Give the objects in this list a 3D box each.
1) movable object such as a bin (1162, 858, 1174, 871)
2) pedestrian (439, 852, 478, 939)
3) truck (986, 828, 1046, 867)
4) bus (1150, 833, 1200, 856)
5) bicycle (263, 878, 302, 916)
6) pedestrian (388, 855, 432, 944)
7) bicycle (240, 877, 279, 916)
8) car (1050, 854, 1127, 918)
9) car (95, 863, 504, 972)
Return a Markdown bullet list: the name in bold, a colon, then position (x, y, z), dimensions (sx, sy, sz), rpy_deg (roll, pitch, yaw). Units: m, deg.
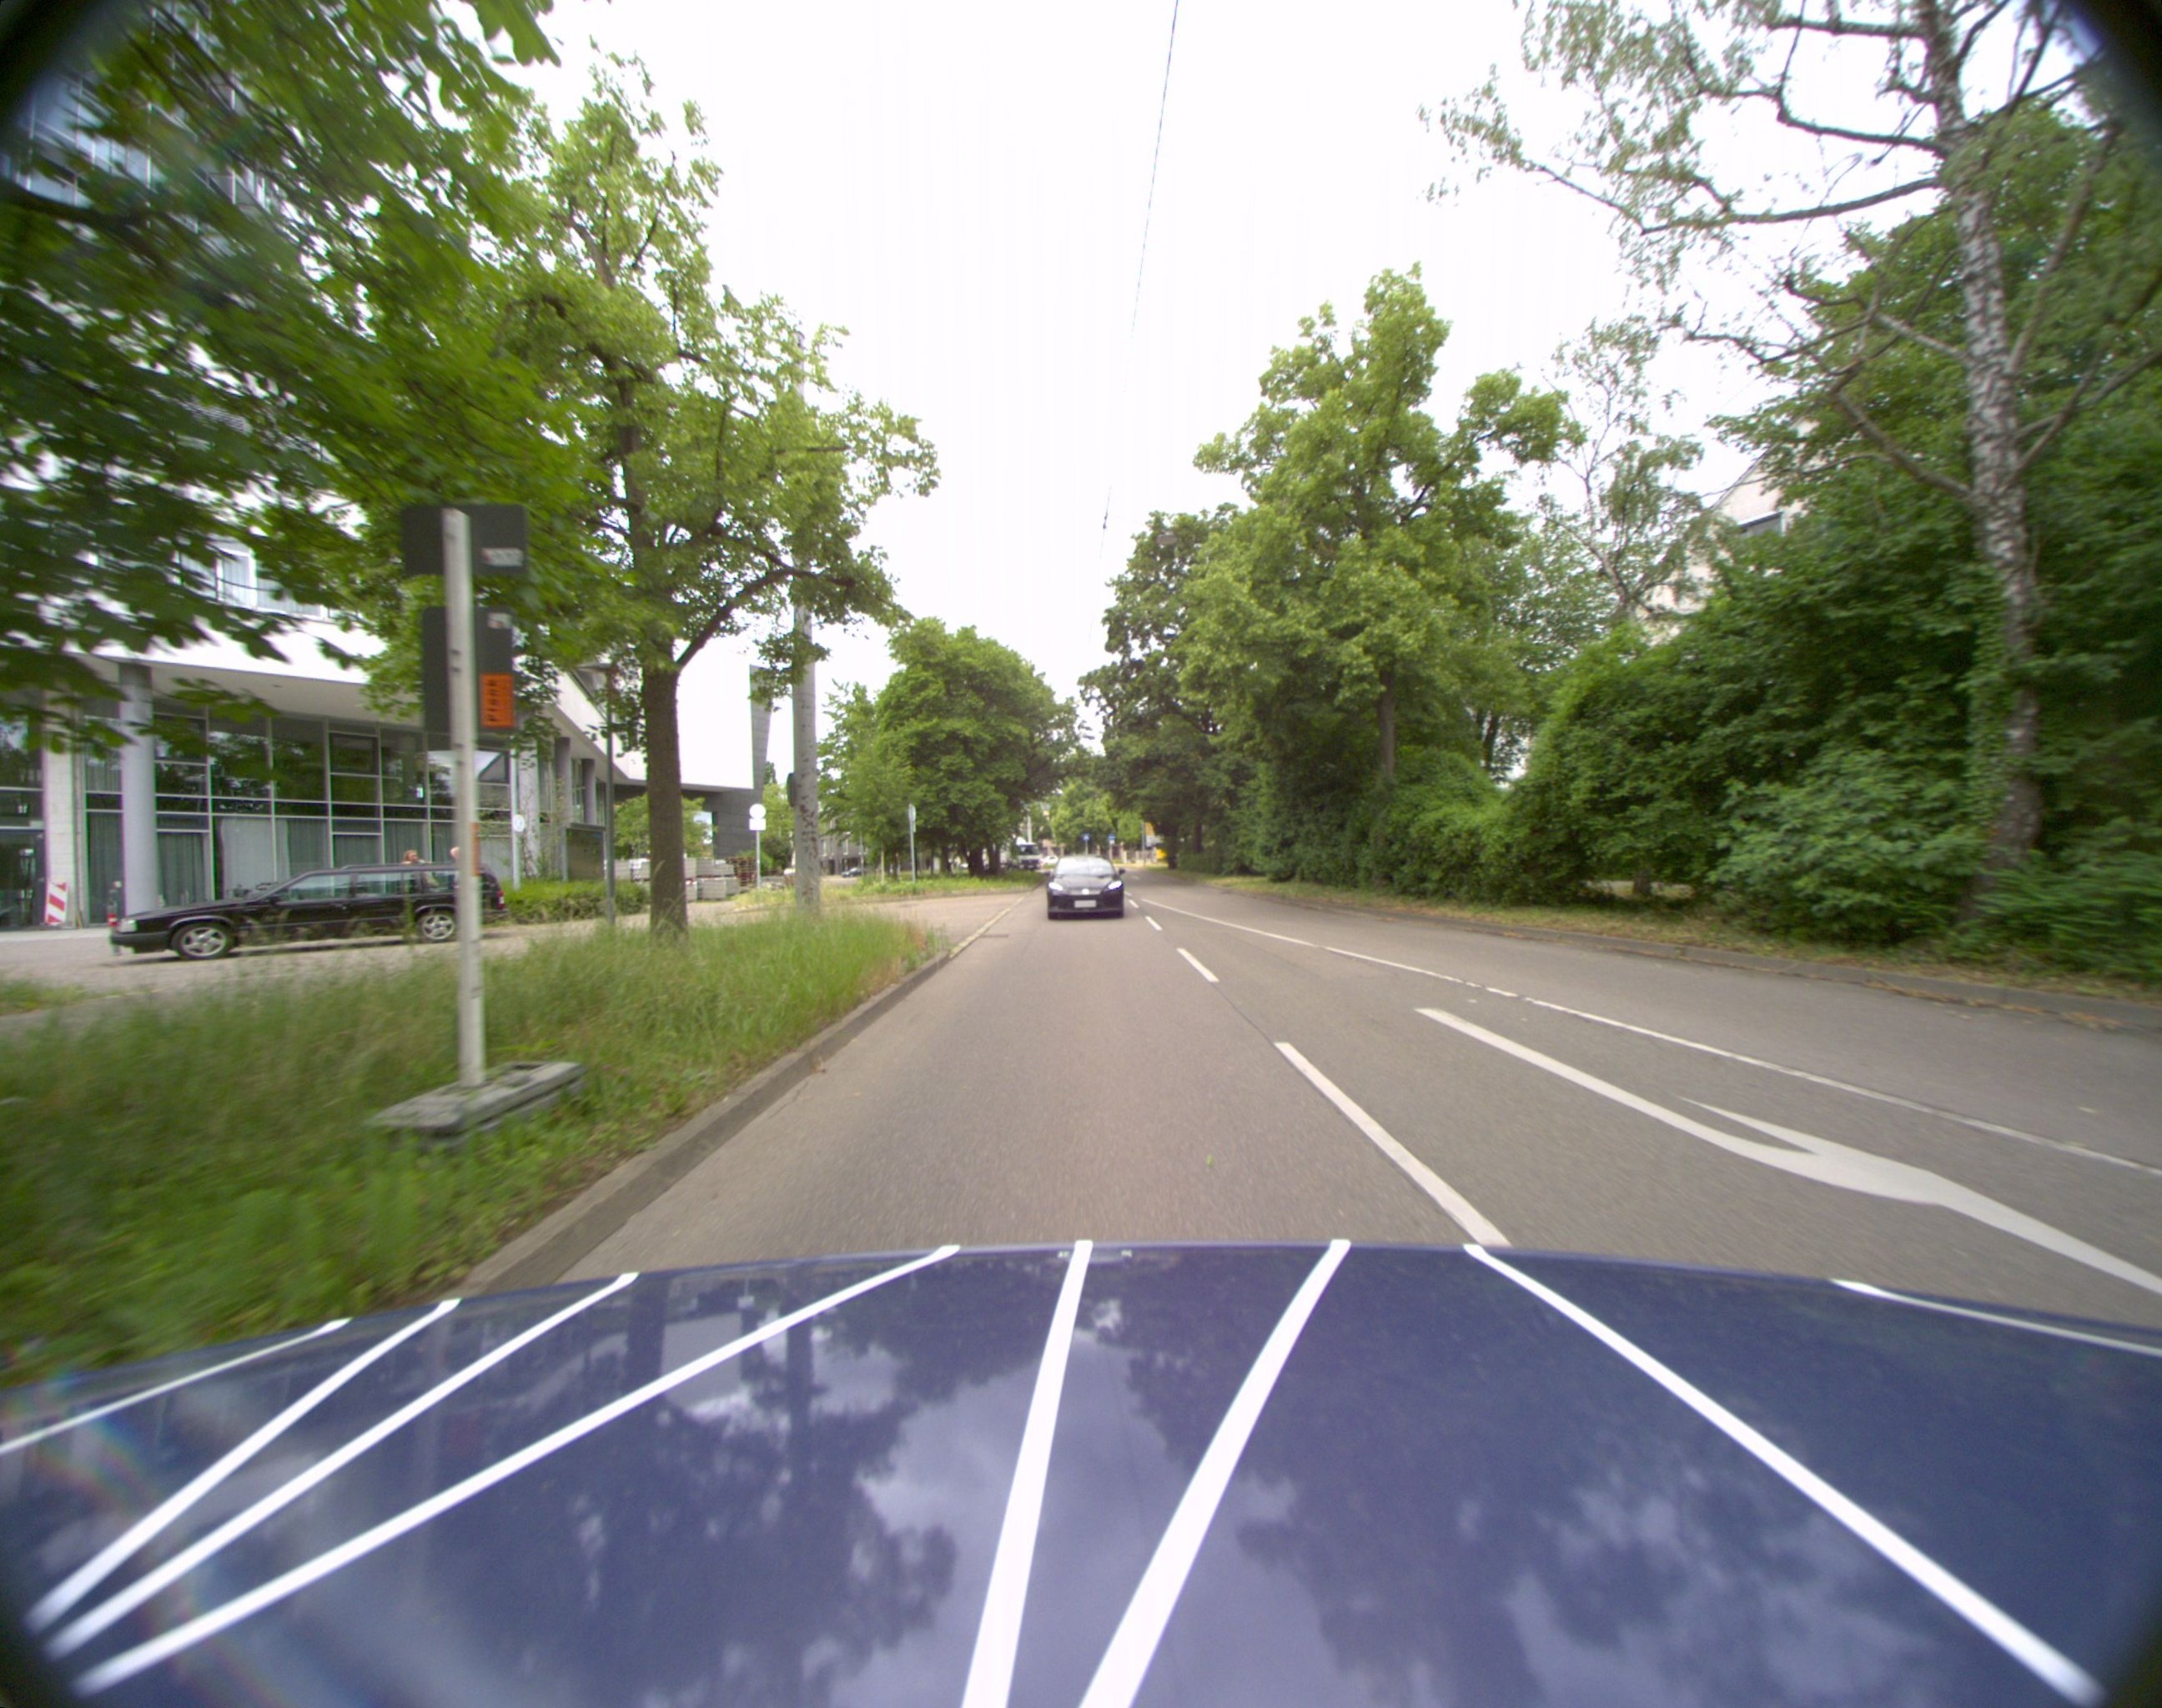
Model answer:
- **movable object such as a bin**: position (5.974, 0.704, 51.995), dimensions (0.599, 0.840, 0.579), rpy_deg (-5, 0, 21)
- **pedestrian**: position (-12.738, 0.849, 15.569), dimensions (0.475, 1.743, 0.583), rpy_deg (1, -3, -30)
- **truck**: position (-5.715, -0.501, 65.563), dimensions (2.441, 3.176, 6.451), rpy_deg (-2, 1, -32)
- **bus**: position (14.664, -1.505, 118.111), dimensions (3.046, 2.991, 8.445), rpy_deg (-5, -1, 45)
- **bicycle**: position (-23.403, 1.255, 22.262), dimensions (1.397, 1.066, 0.393), rpy_deg (-3, 1, 29)
- **pedestrian**: position (-13.193, 0.893, 14.953), dimensions (0.499, 1.714, 0.535), rpy_deg (1, -3, -30)
- **bicycle**: position (-23.399, 1.220, 21.630), dimensions (1.397, 1.066, 0.393), rpy_deg (-3, 1, 29)
- **car**: position (0.182, 0.752, 20.004), dimensions (1.800, 1.475, 4.019), rpy_deg (-1, 0, 0)
- **car**: position (-13.321, 0.957, 13.426), dimensions (4.752, 1.508, 1.866), rpy_deg (-1, 1, -44)
